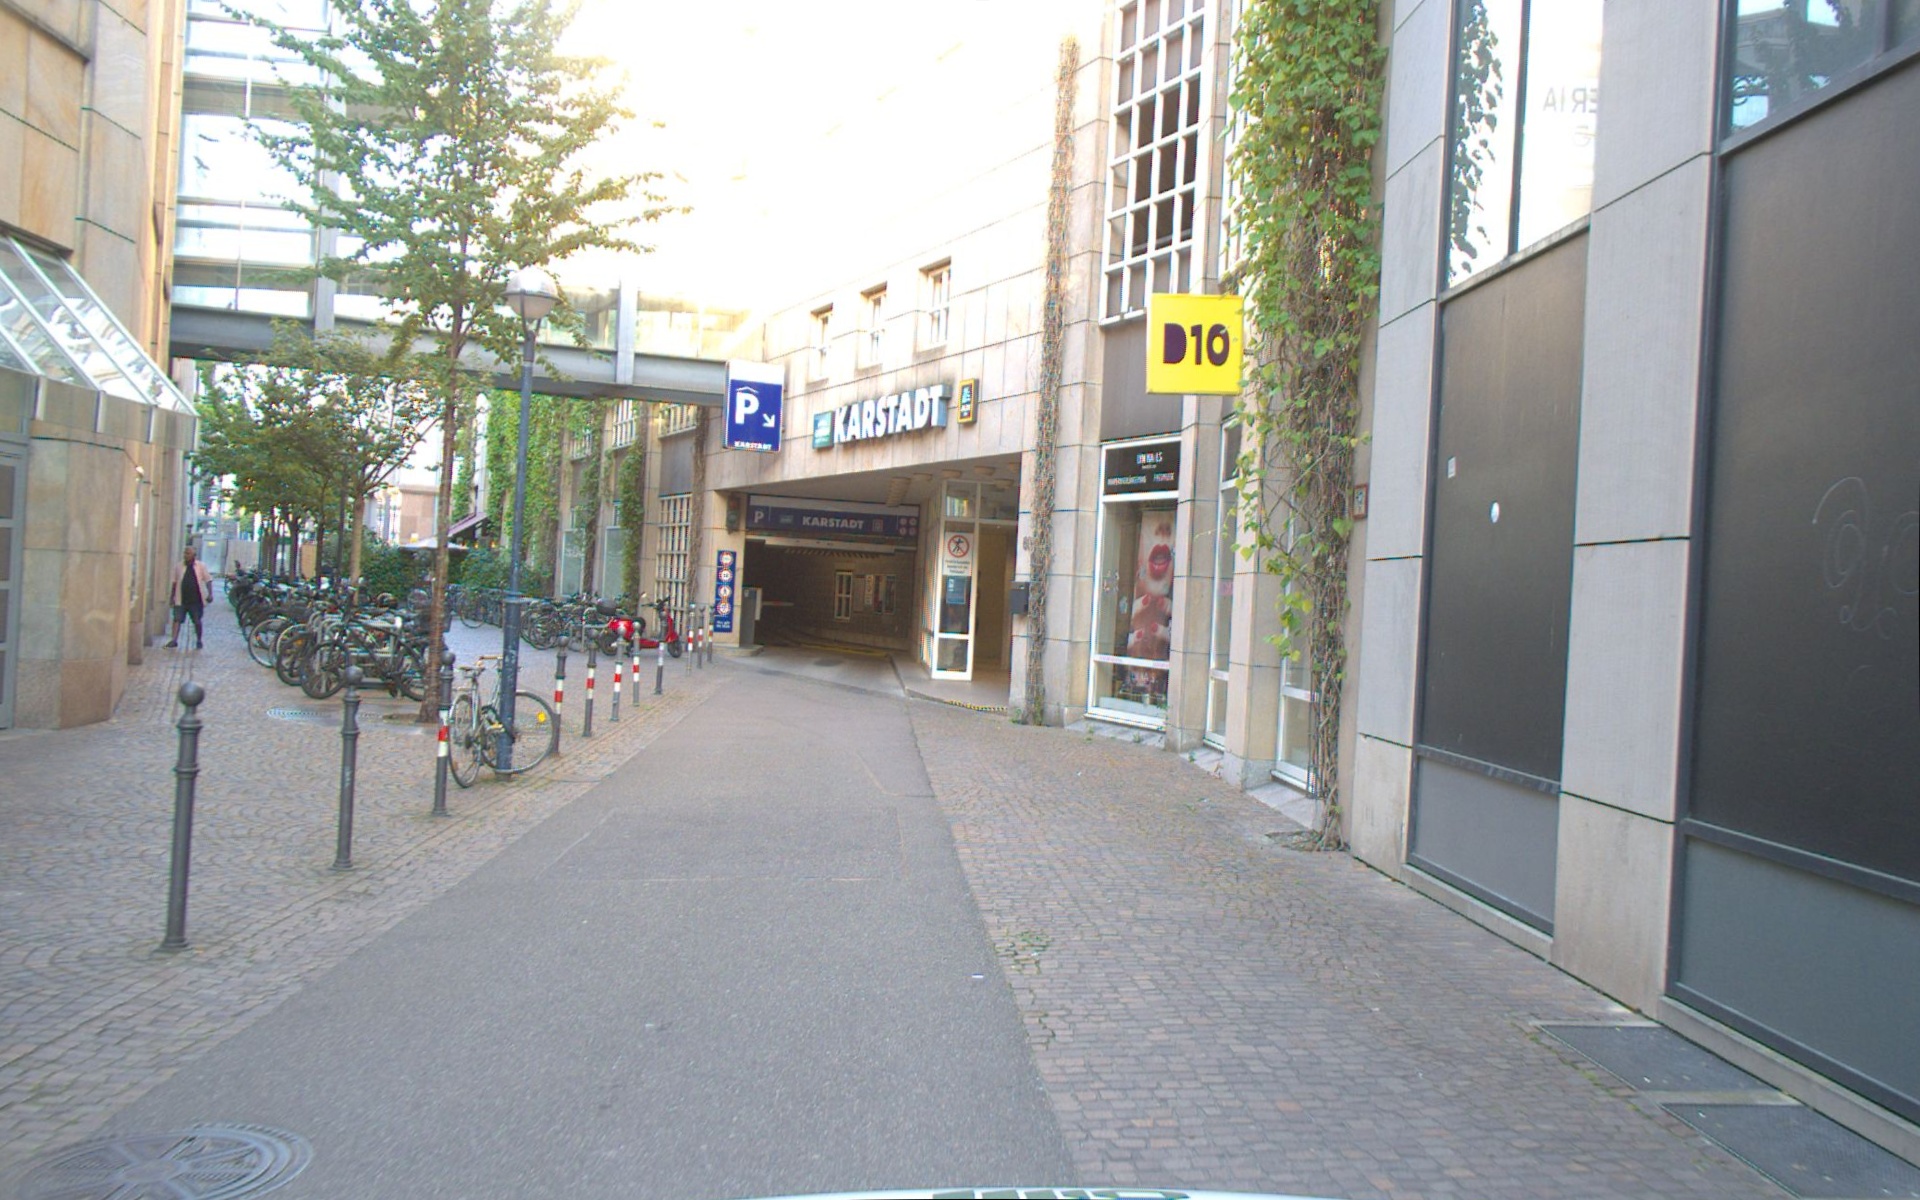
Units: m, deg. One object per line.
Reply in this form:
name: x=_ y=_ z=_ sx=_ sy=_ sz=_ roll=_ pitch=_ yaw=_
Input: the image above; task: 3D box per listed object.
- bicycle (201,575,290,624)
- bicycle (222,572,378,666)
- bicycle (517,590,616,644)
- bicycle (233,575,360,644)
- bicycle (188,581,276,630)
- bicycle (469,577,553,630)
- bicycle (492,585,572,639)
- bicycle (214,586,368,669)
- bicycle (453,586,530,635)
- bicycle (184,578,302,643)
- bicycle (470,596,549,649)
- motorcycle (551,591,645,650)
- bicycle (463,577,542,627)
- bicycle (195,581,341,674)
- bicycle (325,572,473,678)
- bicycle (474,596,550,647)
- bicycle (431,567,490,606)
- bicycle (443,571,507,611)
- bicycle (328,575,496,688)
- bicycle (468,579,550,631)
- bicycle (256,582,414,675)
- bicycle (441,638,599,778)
bicycle: x=-15.826 y=-0.012 z=36.653 sx=1.759 sy=1.037 sz=0.477 roll=2 pitch=0 yaw=-28
bicycle: x=-8.771 y=0.256 z=22.007 sx=1.851 sy=1.198 sz=0.529 roll=2 pitch=0 yaw=-28
bicycle: x=-7.799 y=0.339 z=32.824 sx=1.825 sy=0.999 sz=0.460 roll=2 pitch=0 yaw=-26
bicycle: x=-10.747 y=0.155 z=26.815 sx=1.855 sy=1.061 sz=0.529 roll=2 pitch=0 yaw=-28
bicycle: x=-16.470 y=0.125 z=37.428 sx=1.759 sy=1.037 sz=0.477 roll=2 pitch=0 yaw=-28
bicycle: x=-10.338 y=0.085 z=38.095 sx=1.751 sy=1.134 sz=0.538 roll=2 pitch=0 yaw=-26
bicycle: x=-8.924 y=0.247 z=34.503 sx=1.520 sy=1.067 sz=0.571 roll=2 pitch=0 yaw=-26
bicycle: x=-9.097 y=0.382 z=22.506 sx=1.872 sy=1.070 sz=0.529 roll=2 pitch=0 yaw=-28
bicycle: x=-11.644 y=0.260 z=41.103 sx=1.751 sy=1.134 sz=0.538 roll=2 pitch=0 yaw=-26
bicycle: x=-12.322 y=0.180 z=28.421 sx=1.804 sy=1.061 sz=0.529 roll=2 pitch=0 yaw=-28
bicycle: x=-9.640 y=0.479 z=35.412 sx=1.520 sy=1.067 sz=0.571 roll=2 pitch=0 yaw=-26
motorcycle: x=-6.839 y=0.389 z=31.273 sx=1.642 sy=1.069 sz=0.460 roll=2 pitch=0 yaw=-26
bicycle: x=-11.091 y=0.058 z=40.133 sx=1.751 sy=1.134 sz=0.538 roll=2 pitch=0 yaw=-26
bicycle: x=-9.666 y=0.385 z=23.125 sx=1.812 sy=1.246 sz=0.529 roll=2 pitch=0 yaw=-28
bicycle: x=-6.900 y=0.309 z=20.366 sx=1.635 sy=1.252 sz=0.529 roll=2 pitch=0 yaw=-28
bicycle: x=-9.978 y=0.487 z=36.816 sx=1.520 sy=1.067 sz=0.571 roll=2 pitch=0 yaw=-26
bicycle: x=-16.370 y=-0.431 z=54.229 sx=1.751 sy=1.211 sz=0.581 roll=2 pitch=0 yaw=-26
bicycle: x=-14.409 y=-0.264 z=49.118 sx=1.749 sy=1.134 sz=0.539 roll=2 pitch=0 yaw=-23
bicycle: x=-6.304 y=0.372 z=19.064 sx=1.746 sy=1.252 sz=0.529 roll=2 pitch=0 yaw=-28
bicycle: x=-10.629 y=0.120 z=38.974 sx=1.751 sy=1.134 sz=0.538 roll=2 pitch=0 yaw=-26
bicycle: x=-7.974 y=0.369 z=21.130 sx=1.815 sy=1.142 sz=0.529 roll=2 pitch=0 yaw=-28
bicycle: x=-3.369 y=0.803 z=12.817 sx=0.482 sy=0.955 sz=1.660 roll=4 pitch=0 yaw=10
